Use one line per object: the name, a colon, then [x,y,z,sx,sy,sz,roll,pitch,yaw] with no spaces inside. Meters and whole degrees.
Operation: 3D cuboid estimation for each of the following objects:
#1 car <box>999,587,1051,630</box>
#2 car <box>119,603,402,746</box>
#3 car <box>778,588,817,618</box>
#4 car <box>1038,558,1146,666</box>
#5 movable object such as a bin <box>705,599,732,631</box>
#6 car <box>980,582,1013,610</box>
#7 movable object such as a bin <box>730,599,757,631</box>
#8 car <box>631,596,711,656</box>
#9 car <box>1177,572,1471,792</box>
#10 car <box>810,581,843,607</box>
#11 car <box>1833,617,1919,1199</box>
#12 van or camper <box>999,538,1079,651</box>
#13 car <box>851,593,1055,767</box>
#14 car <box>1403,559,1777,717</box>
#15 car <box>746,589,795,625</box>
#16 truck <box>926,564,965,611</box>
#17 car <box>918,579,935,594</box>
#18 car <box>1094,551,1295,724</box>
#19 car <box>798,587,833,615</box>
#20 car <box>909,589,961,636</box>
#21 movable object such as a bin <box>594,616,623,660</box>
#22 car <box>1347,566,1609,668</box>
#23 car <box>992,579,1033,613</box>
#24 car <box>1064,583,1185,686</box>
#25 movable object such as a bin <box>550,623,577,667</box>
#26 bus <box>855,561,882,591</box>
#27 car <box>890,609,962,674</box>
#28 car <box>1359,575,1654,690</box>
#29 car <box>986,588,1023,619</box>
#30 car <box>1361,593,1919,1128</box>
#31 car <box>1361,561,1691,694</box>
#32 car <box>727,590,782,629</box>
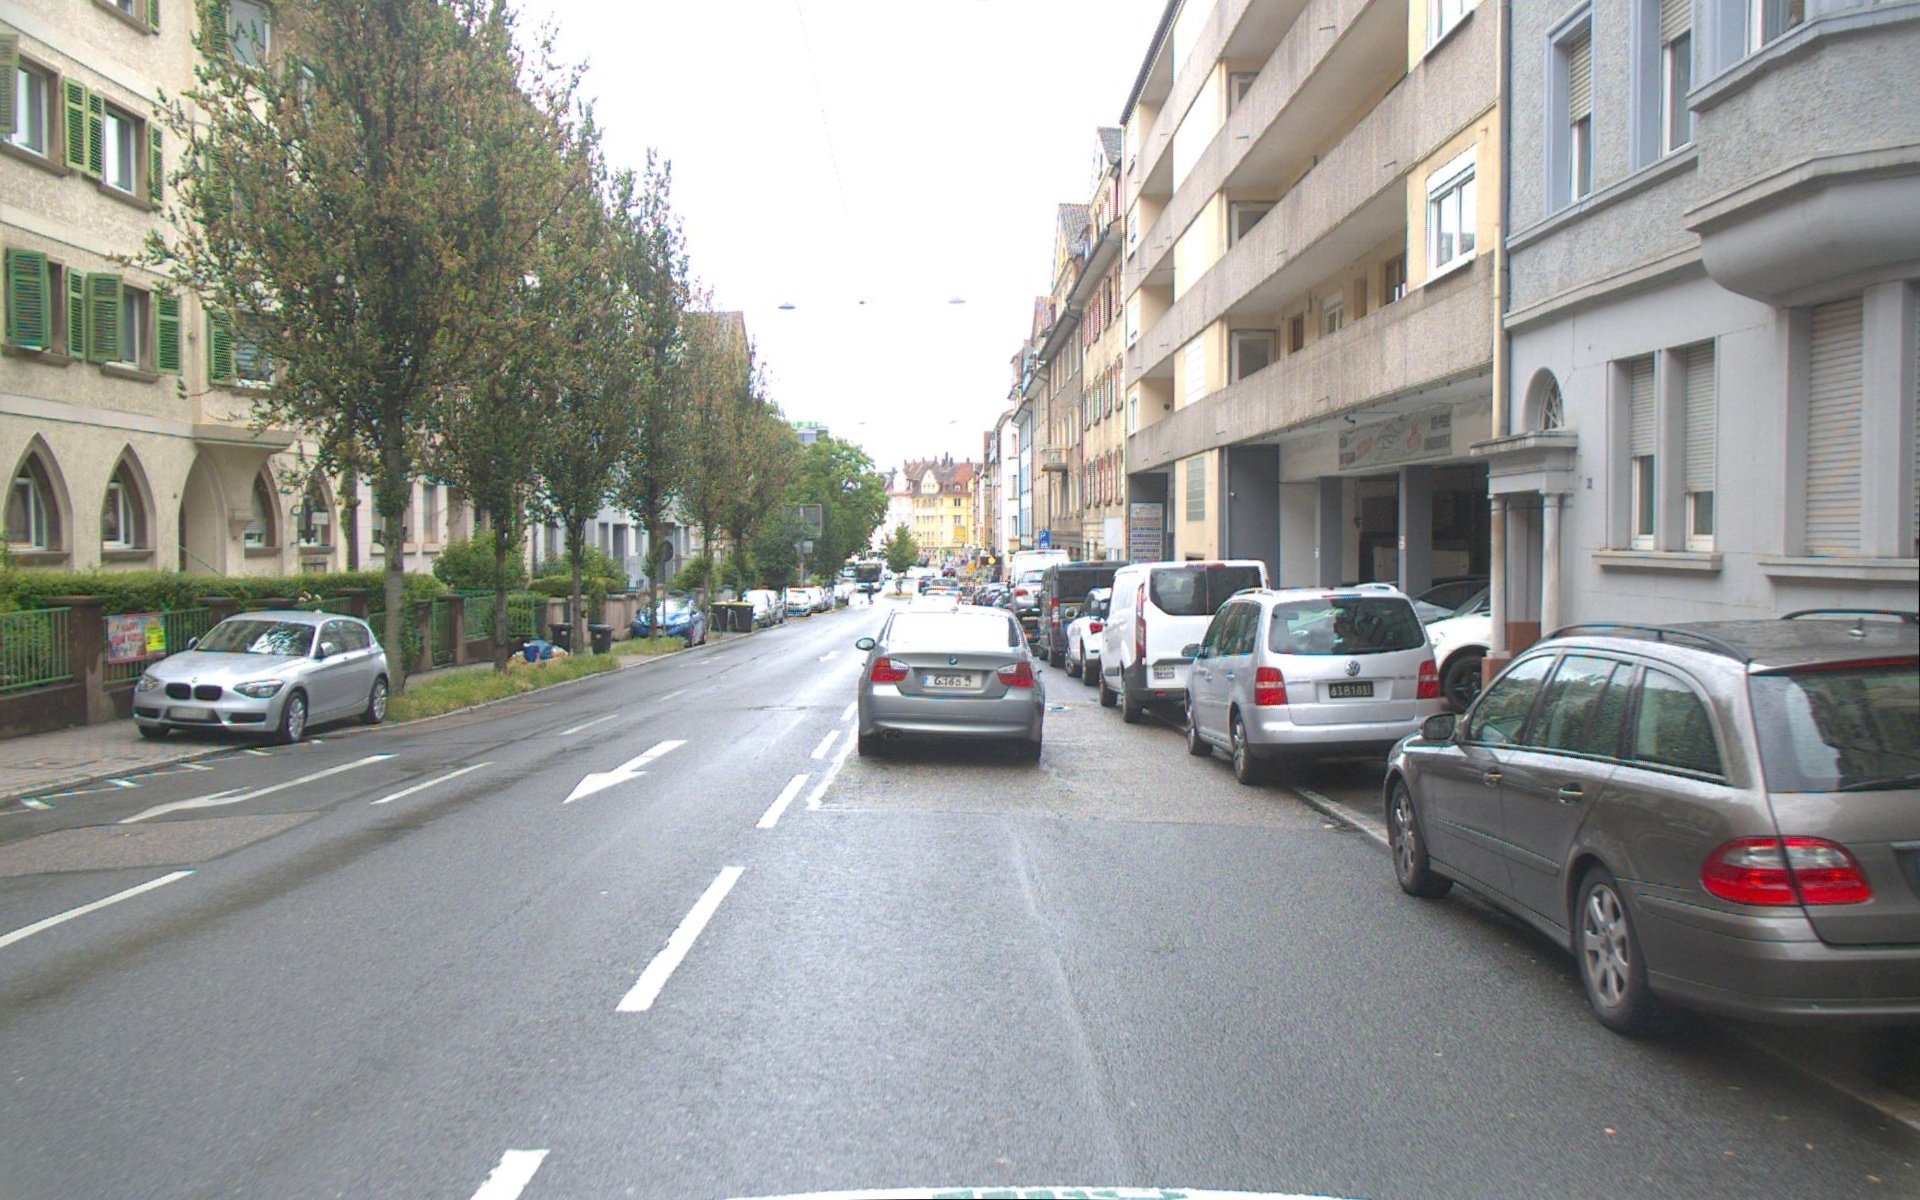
car: [2.406,0.315,62.244,1.663,1.509,3.974,1,0,-2]
car: [-8.348,0.823,20.143,1.691,1.509,3.989,2,0,0]
car: [-8.882,0.158,90.641,1.656,1.550,3.736,-2,0,0]
car: [2.872,0.241,36.943,1.941,2.203,4.749,-1,0,-1]
movable object such as a bin: [-9.148,0.575,62.665,0.883,1.189,0.895,0,0,-1]
car: [2.070,-0.233,95.341,1.663,1.509,3.974,1,0,-2]
movable object such as a bin: [-8.206,0.560,62.637,0.916,1.189,0.909,0,0,-1]
car: [-8.476,0.733,48.836,1.731,1.621,3.999,-2,0,-2]
car: [3.214,0.646,15.452,1.691,1.699,4.287,-2,0,-1]
car: [-8.344,-0.406,103.508,1.656,1.550,3.736,-2,0,0]
car: [3.036,0.820,2.190,1.578,1.500,4.015,1,0,-1]
van or camper: [2.264,-0.173,47.475,1.991,2.918,6.887,3,0,3]
car: [-0.050,0.704,16.152,1.733,1.453,3.741,1,0,0]
car: [7.829,0.420,20.956,4.234,1.836,2.008,0,2,17]
car: [-8.723,0.321,76.450,1.790,1.550,3.736,-2,0,0]
truck: [-0.829,-0.685,90.521,1.991,2.455,4.825,1,0,-2]
car: [-3.467,-1.434,171.953,1.663,1.509,3.792,-1,0,-2]
car: [3.014,0.440,22.240,1.941,2.042,4.624,-1,0,-1]
car: [-8.554,0.063,98.045,1.656,1.550,3.736,-2,0,0]
car: [-0.873,0.423,56.050,1.663,1.509,3.792,1,0,-2]
movable object such as a bin: [-7.760,0.835,36.497,0.565,0.928,0.638,-1,0,-15]
car: [8.905,0.268,28.735,4.195,1.669,1.668,0,2,12]
car: [2.452,-0.191,77.373,1.663,1.509,3.974,1,0,-2]
car: [2.929,0.573,30.174,1.691,1.699,4.287,-1,0,-1]
movable object such as a bin: [-8.732,0.989,36.416,0.565,0.928,0.638,-1,0,-15]
bus: [-9.818,-2.534,177.882,2.614,3.077,7.669,-1,0,-1]
car: [-0.794,0.972,40.529,1.647,1.453,3.741,1,0,0]
car: [8.382,0.472,25.705,4.195,1.669,1.668,0,2,12]
car: [2.273,0.182,85.505,1.663,1.509,3.974,1,0,-2]
car: [3.327,0.773,7.382,1.861,1.504,4.798,-3,0,0]
car: [7.933,0.351,23.574,4.233,1.756,1.911,0,2,12]
car: [-8.716,0.368,70.278,1.790,1.550,3.736,-2,0,0]
